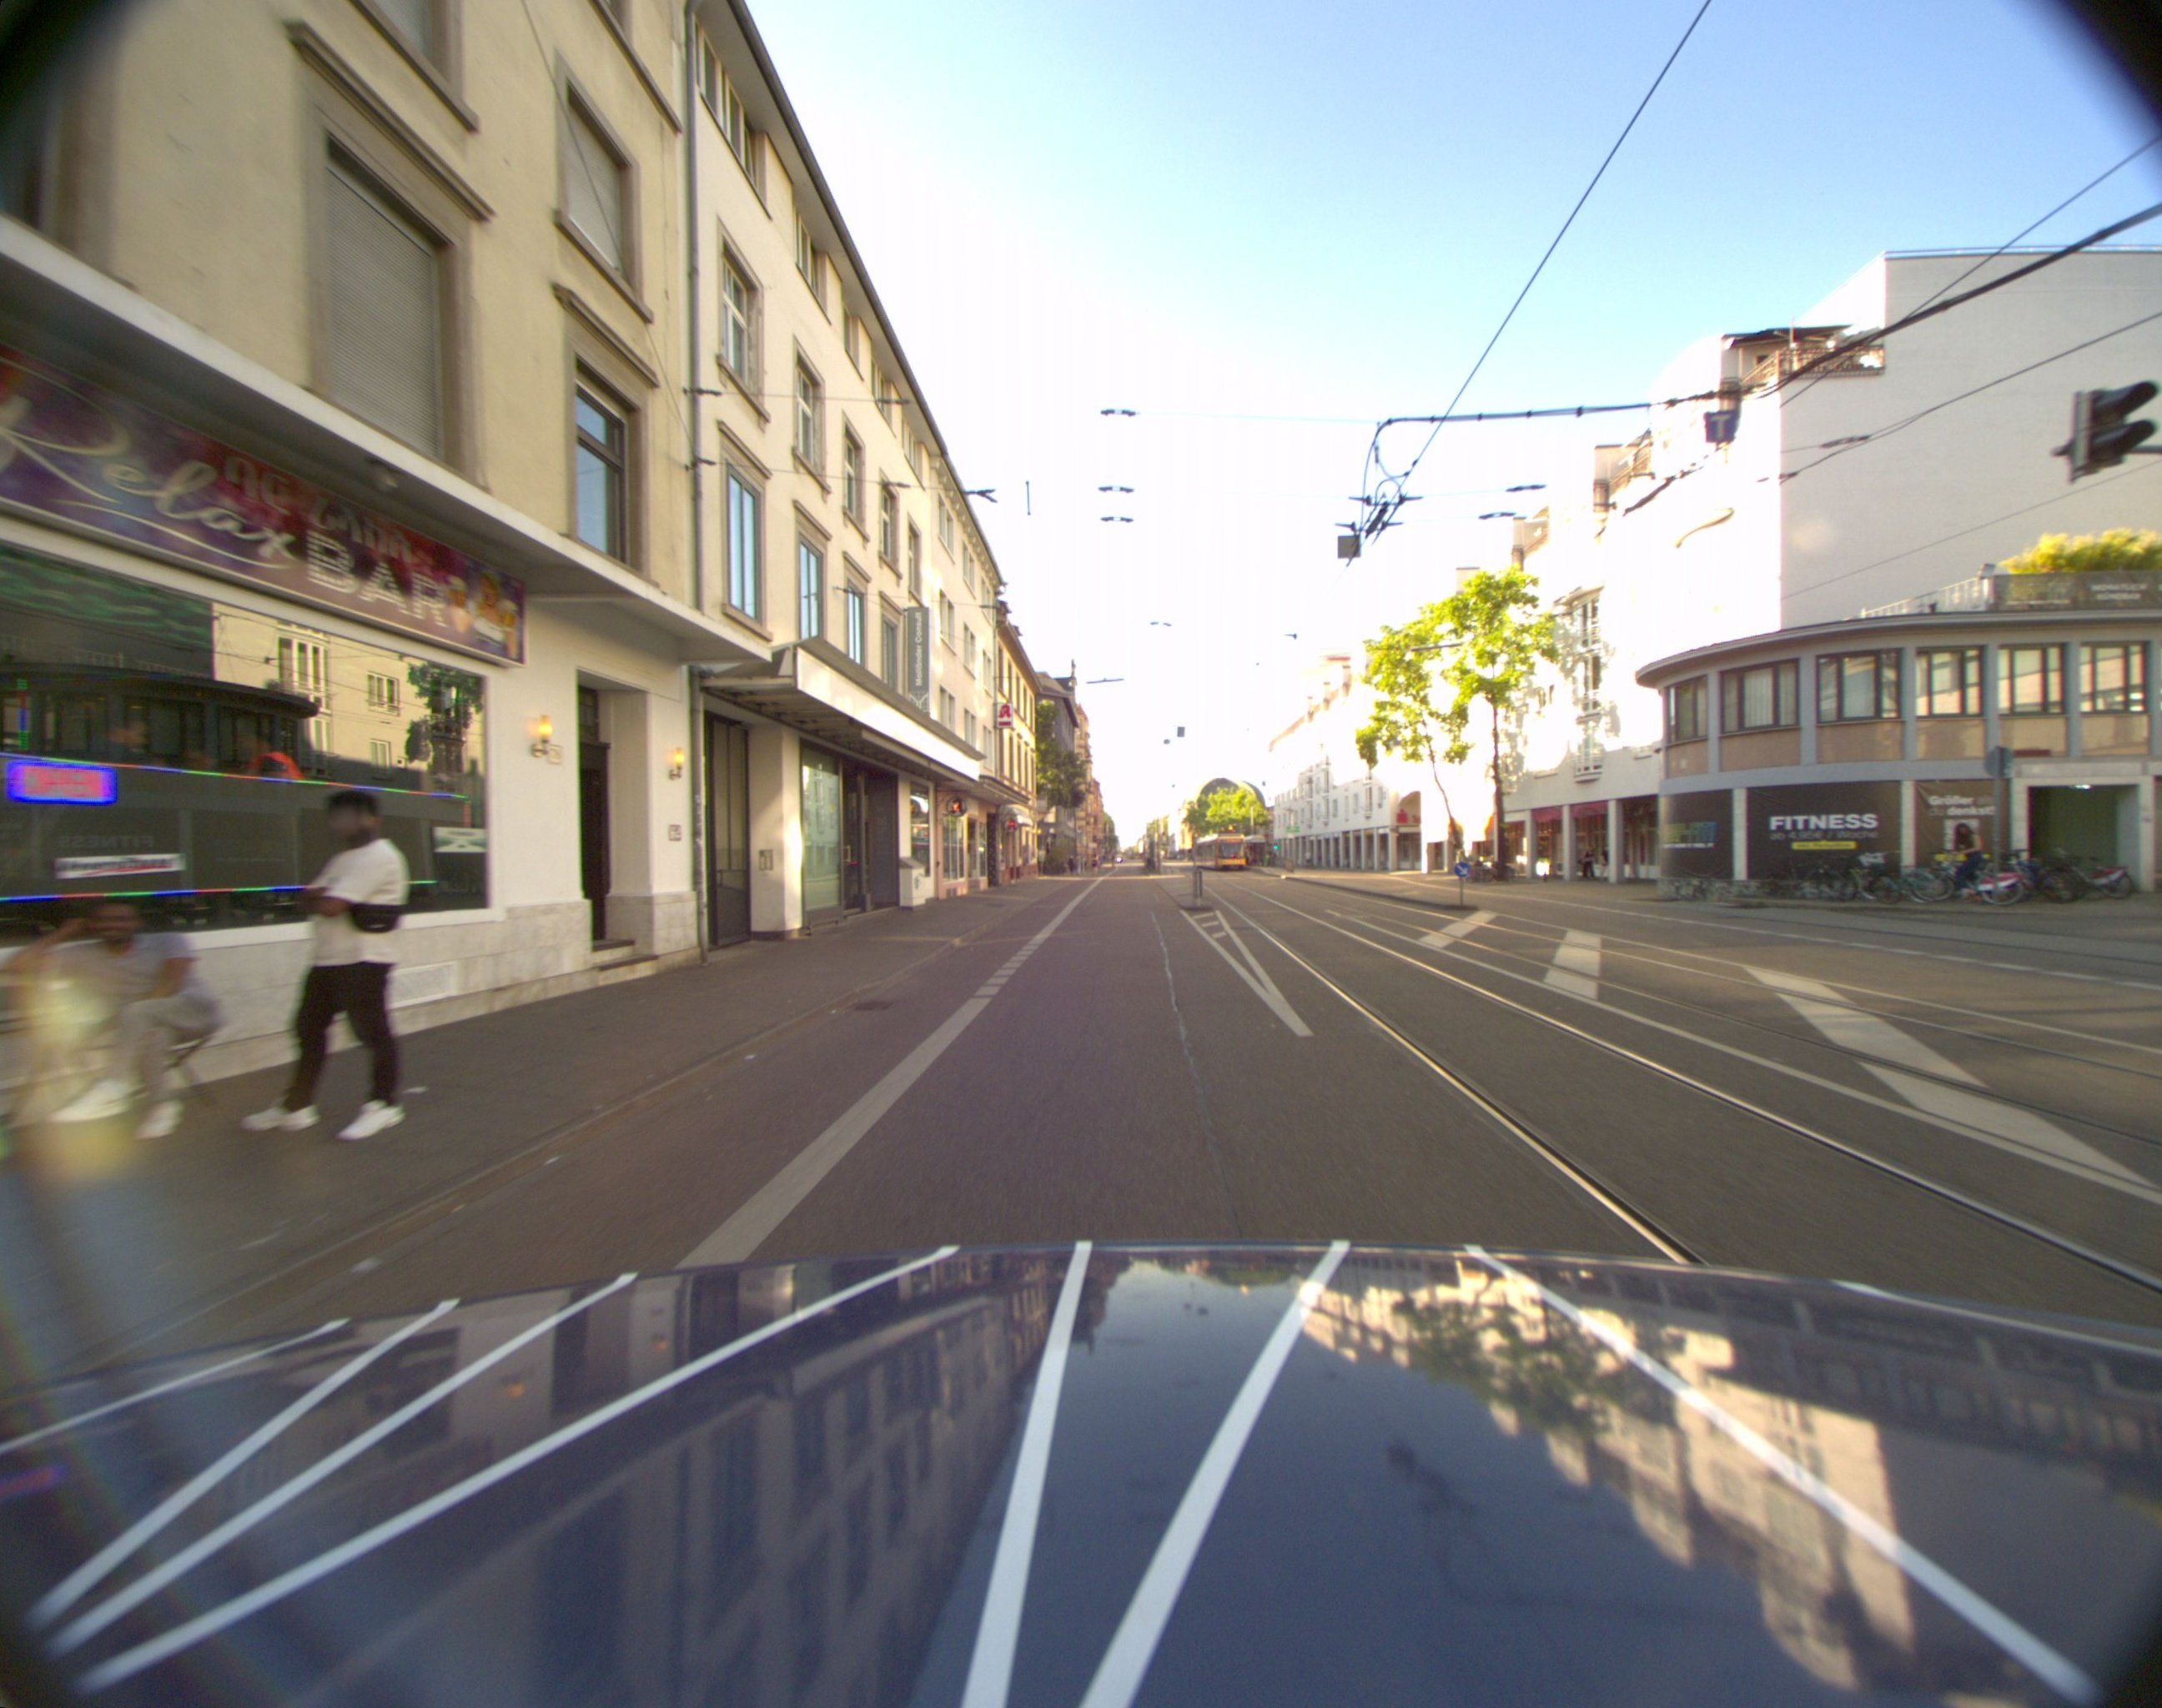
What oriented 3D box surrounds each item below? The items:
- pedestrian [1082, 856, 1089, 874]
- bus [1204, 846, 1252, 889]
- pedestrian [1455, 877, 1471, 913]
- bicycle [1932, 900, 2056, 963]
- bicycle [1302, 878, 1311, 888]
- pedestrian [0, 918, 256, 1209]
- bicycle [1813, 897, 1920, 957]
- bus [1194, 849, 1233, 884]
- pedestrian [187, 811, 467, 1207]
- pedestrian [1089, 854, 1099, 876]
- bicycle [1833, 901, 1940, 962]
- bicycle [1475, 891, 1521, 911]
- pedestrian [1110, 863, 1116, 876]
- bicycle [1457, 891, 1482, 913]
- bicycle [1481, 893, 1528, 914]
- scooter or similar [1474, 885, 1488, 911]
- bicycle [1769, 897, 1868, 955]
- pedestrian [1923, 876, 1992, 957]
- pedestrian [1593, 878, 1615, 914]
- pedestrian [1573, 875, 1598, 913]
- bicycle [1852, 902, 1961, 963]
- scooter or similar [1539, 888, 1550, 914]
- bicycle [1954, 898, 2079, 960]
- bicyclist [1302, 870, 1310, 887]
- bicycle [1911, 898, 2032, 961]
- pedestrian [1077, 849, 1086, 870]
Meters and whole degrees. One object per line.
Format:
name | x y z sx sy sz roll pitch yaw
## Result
pedestrian | 0.455 1.130 75.827 0.650 1.760 0.697 0 0 9
bus | 13.329 1.144 69.962 2.817 3.546 13.684 0 0 5
pedestrian | 18.582 1.986 36.981 0.630 1.706 0.826 0 0 31
bicycle | 19.300 1.612 16.125 0.449 1.180 1.832 0 0 1
bicycle | 23.328 2.992 78.777 0.518 0.983 1.727 -2 0 5
pedestrian | -5.061 0.978 3.836 0.707 1.168 1.014 5 0 -15
bicycle | 17.354 1.578 16.855 0.441 1.180 1.831 0 0 -2
bus | 14.356 1.293 83.501 2.817 3.546 13.683 0 0 4
pedestrian | -3.899 0.728 3.967 0.705 1.801 0.680 6 0 19
pedestrian | 1.074 0.877 61.789 0.807 1.789 0.762 0 0 4
bicycle | 17.782 1.675 16.832 0.449 1.180 1.832 0 0 1
bicycle | 19.970 2.245 36.404 1.848 0.907 0.390 -2 -1 9
pedestrian | 4.306 2.067 101.943 0.694 1.760 0.697 0 0 9
bicycle | 18.766 2.300 36.696 0.389 0.907 1.852 -2 0 5
bicycle | 19.726 2.323 35.396 1.848 0.907 0.389 -2 0 9
scooter or similar | 21.057 2.299 40.004 0.378 1.271 1.181 -3 -1 16
bicycle | 16.914 1.612 17.477 0.446 1.180 1.831 0 0 -2
pedestrian | 18.716 1.321 16.242 0.682 1.687 0.683 0 0 2
pedestrian | 23.160 1.841 33.663 0.560 1.567 0.632 0 0 5
pedestrian | 23.046 1.806 34.692 0.631 1.706 0.825 0 0 5
bicycle | 18.231 1.699 16.837 0.444 1.180 1.832 0 0 1
scooter or similar | 20.781 2.091 34.066 0.335 1.105 1.182 0 0 27
bicycle | 19.869 1.560 16.197 0.449 1.180 1.832 0 0 1
bicyclist | 23.323 2.565 78.793 0.514 1.690 0.808 -2 0 5
bicycle | 18.815 1.556 16.112 0.449 1.180 1.832 0 0 1
pedestrian | 0.044 0.418 61.622 0.651 1.706 0.806 0 0 -3
